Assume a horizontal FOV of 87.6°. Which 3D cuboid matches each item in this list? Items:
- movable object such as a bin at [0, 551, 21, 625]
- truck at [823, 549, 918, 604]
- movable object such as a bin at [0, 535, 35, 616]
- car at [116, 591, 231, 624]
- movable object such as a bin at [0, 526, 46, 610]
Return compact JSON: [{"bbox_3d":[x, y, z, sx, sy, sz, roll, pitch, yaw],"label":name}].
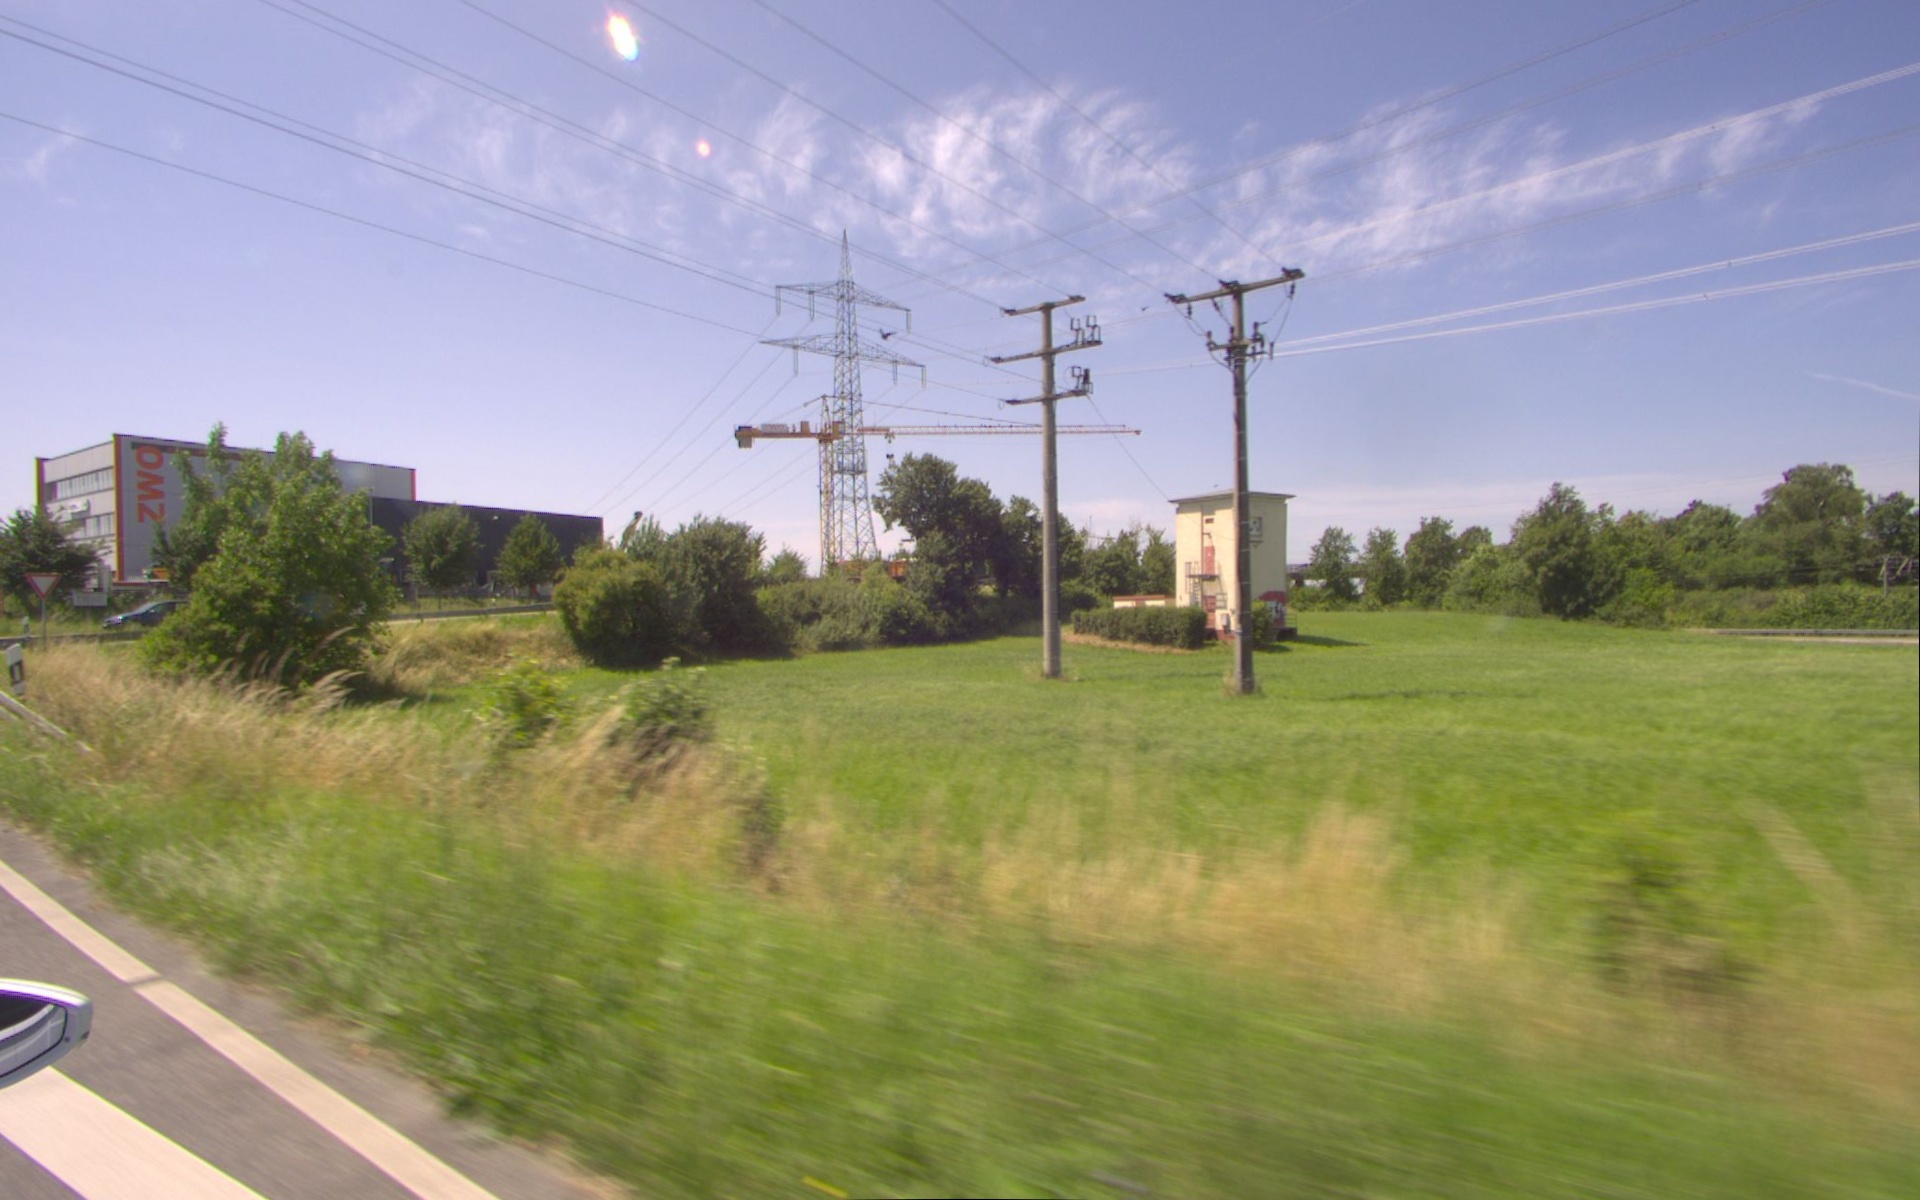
[{"bbox_3d":[-59.659,-0.763,59.539,2.795,4.328,5.076,-2,-2,32],"label":"movable object such as a bin"},{"bbox_3d":[-7.827,-1.939,89.132,3.268,4.234,9.656,-2,-3,31],"label":"truck"},{"bbox_3d":[-65.648,-1.674,65.703,3.753,5.211,6.579,-2,-3,32],"label":"movable object such as a bin"},{"bbox_3d":[-37.565,0.324,47.913,1.611,1.460,3.990,0,1,32],"label":"car"},{"bbox_3d":[-62.442,-2.078,63.582,3.066,5.168,5.908,-2,-2,32],"label":"movable object such as a bin"}]
